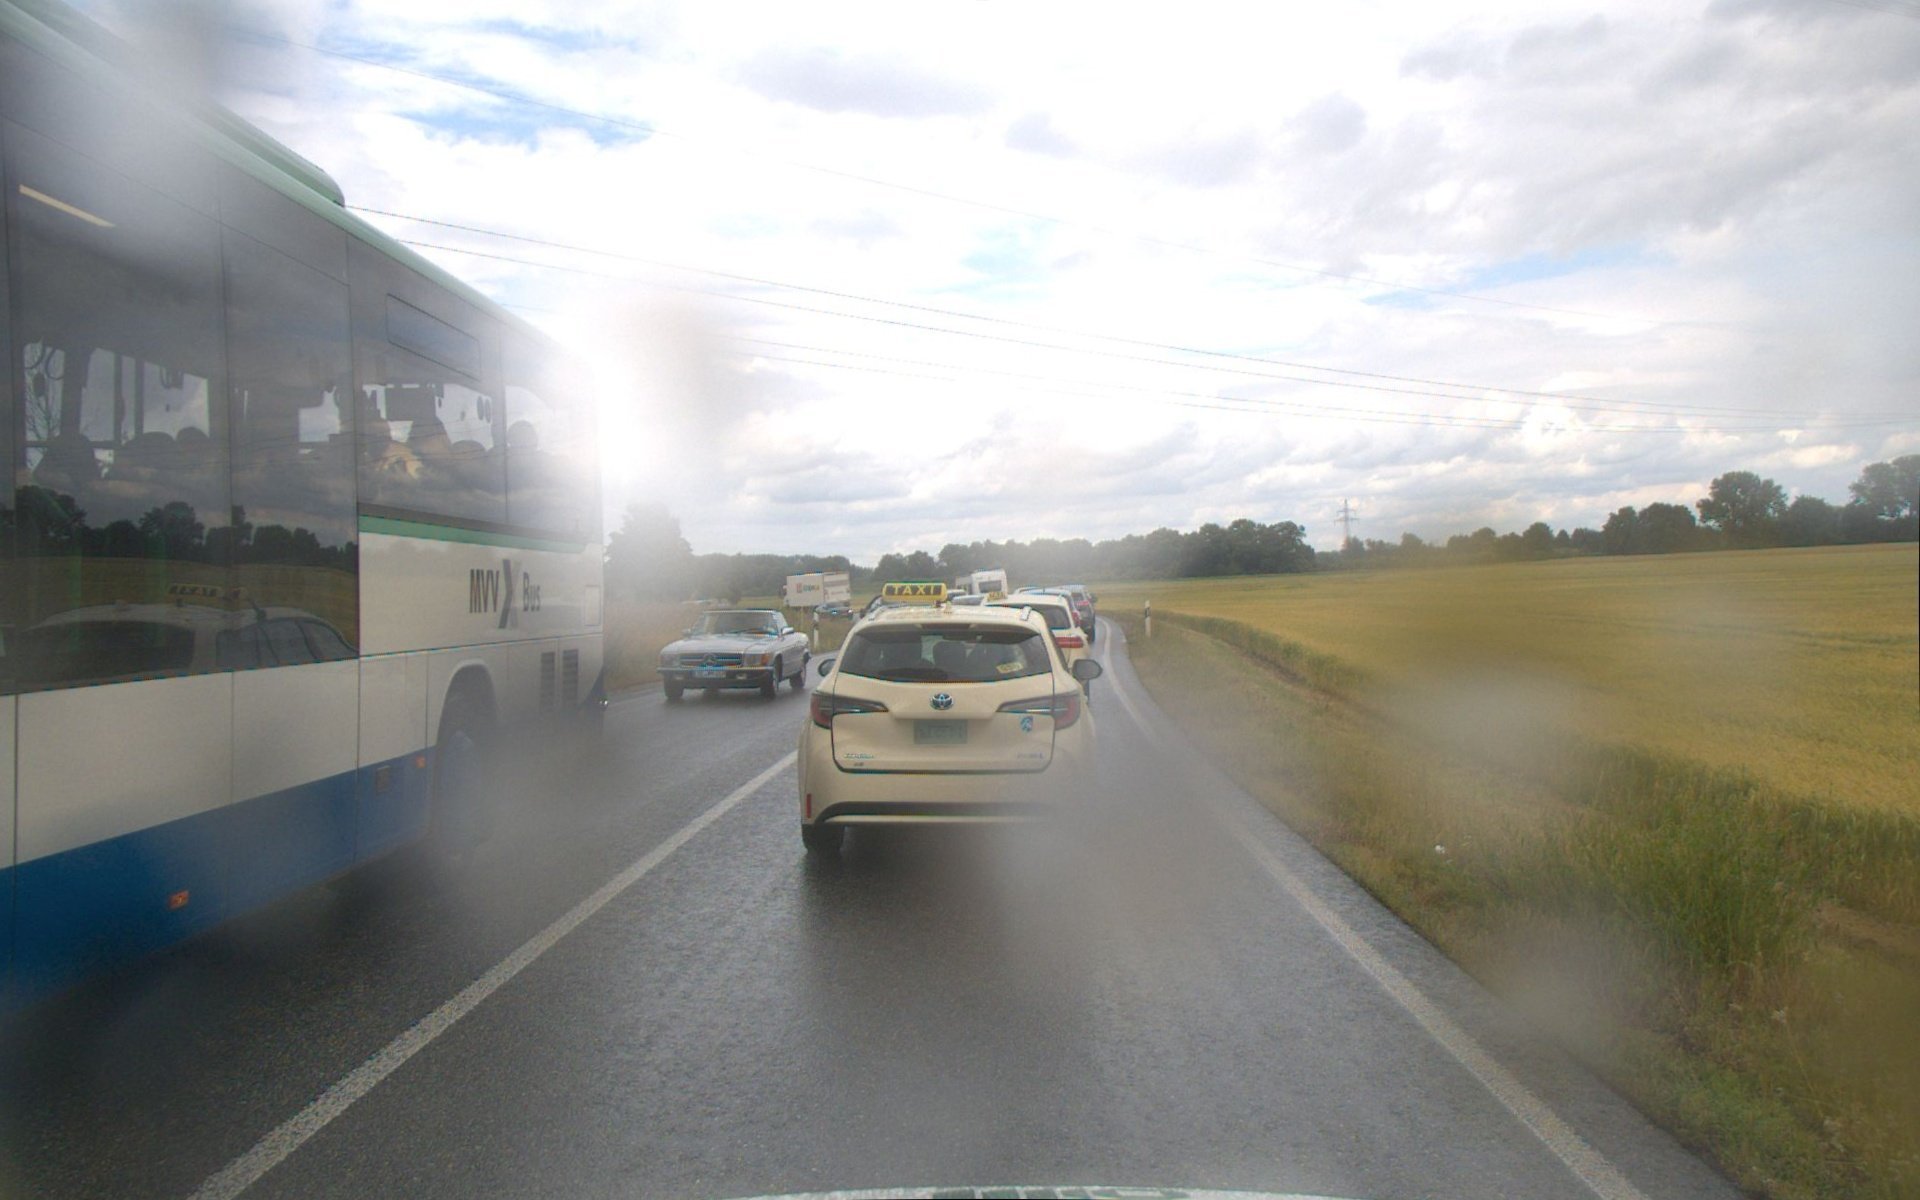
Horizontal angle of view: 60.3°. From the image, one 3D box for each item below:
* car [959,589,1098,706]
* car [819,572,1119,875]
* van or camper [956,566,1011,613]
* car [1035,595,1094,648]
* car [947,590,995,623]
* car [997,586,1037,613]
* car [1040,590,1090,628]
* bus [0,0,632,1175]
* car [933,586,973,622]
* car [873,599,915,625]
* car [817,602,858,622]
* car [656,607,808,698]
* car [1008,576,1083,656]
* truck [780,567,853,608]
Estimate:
[{"bbox_3d":[1.024,0.616,23.857,1.803,1.518,4.610,0,0,3],"label":"car"},{"bbox_3d":[0.115,0.683,10.621,1.579,1.590,3.739,0,-1,2],"label":"car"},{"bbox_3d":[1.493,-0.664,108.018,2.490,2.946,6.728,0,0,-9],"label":"van or camper"},{"bbox_3d":[2.986,0.608,46.730,1.579,1.438,3.740,0,-1,5],"label":"car"},{"bbox_3d":[0.477,0.298,74.947,1.808,1.412,4.282,0,0,-5],"label":"car"},{"bbox_3d":[3.179,0.008,92.281,1.749,1.438,3.733,0,-1,-6],"label":"car"},{"bbox_3d":[4.188,0.389,65.903,1.918,1.438,4.394,0,-1,4],"label":"car"},{"bbox_3d":[-3.735,-0.251,5.685,2.701,3.355,12.502,0,0,0],"label":"bus"},{"bbox_3d":[-0.402,0.232,89.307,1.808,1.888,4.442,0,0,-4],"label":"car"},{"bbox_3d":[-4.498,0.811,112.306,1.819,1.660,4.514,-1,0,-16],"label":"car"},{"bbox_3d":[-9.342,0.917,125.791,1.826,1.473,4.058,-2,0,-25],"label":"car"},{"bbox_3d":[-3.409,0.751,25.389,1.683,1.273,4.000,0,0,1],"label":"car"},{"bbox_3d":[1.888,0.376,36.927,1.579,1.688,3.739,0,-1,3],"label":"car"},{"bbox_3d":[-12.275,-0.986,140.582,2.983,3.266,8.145,1,-1,-31],"label":"truck"}]
